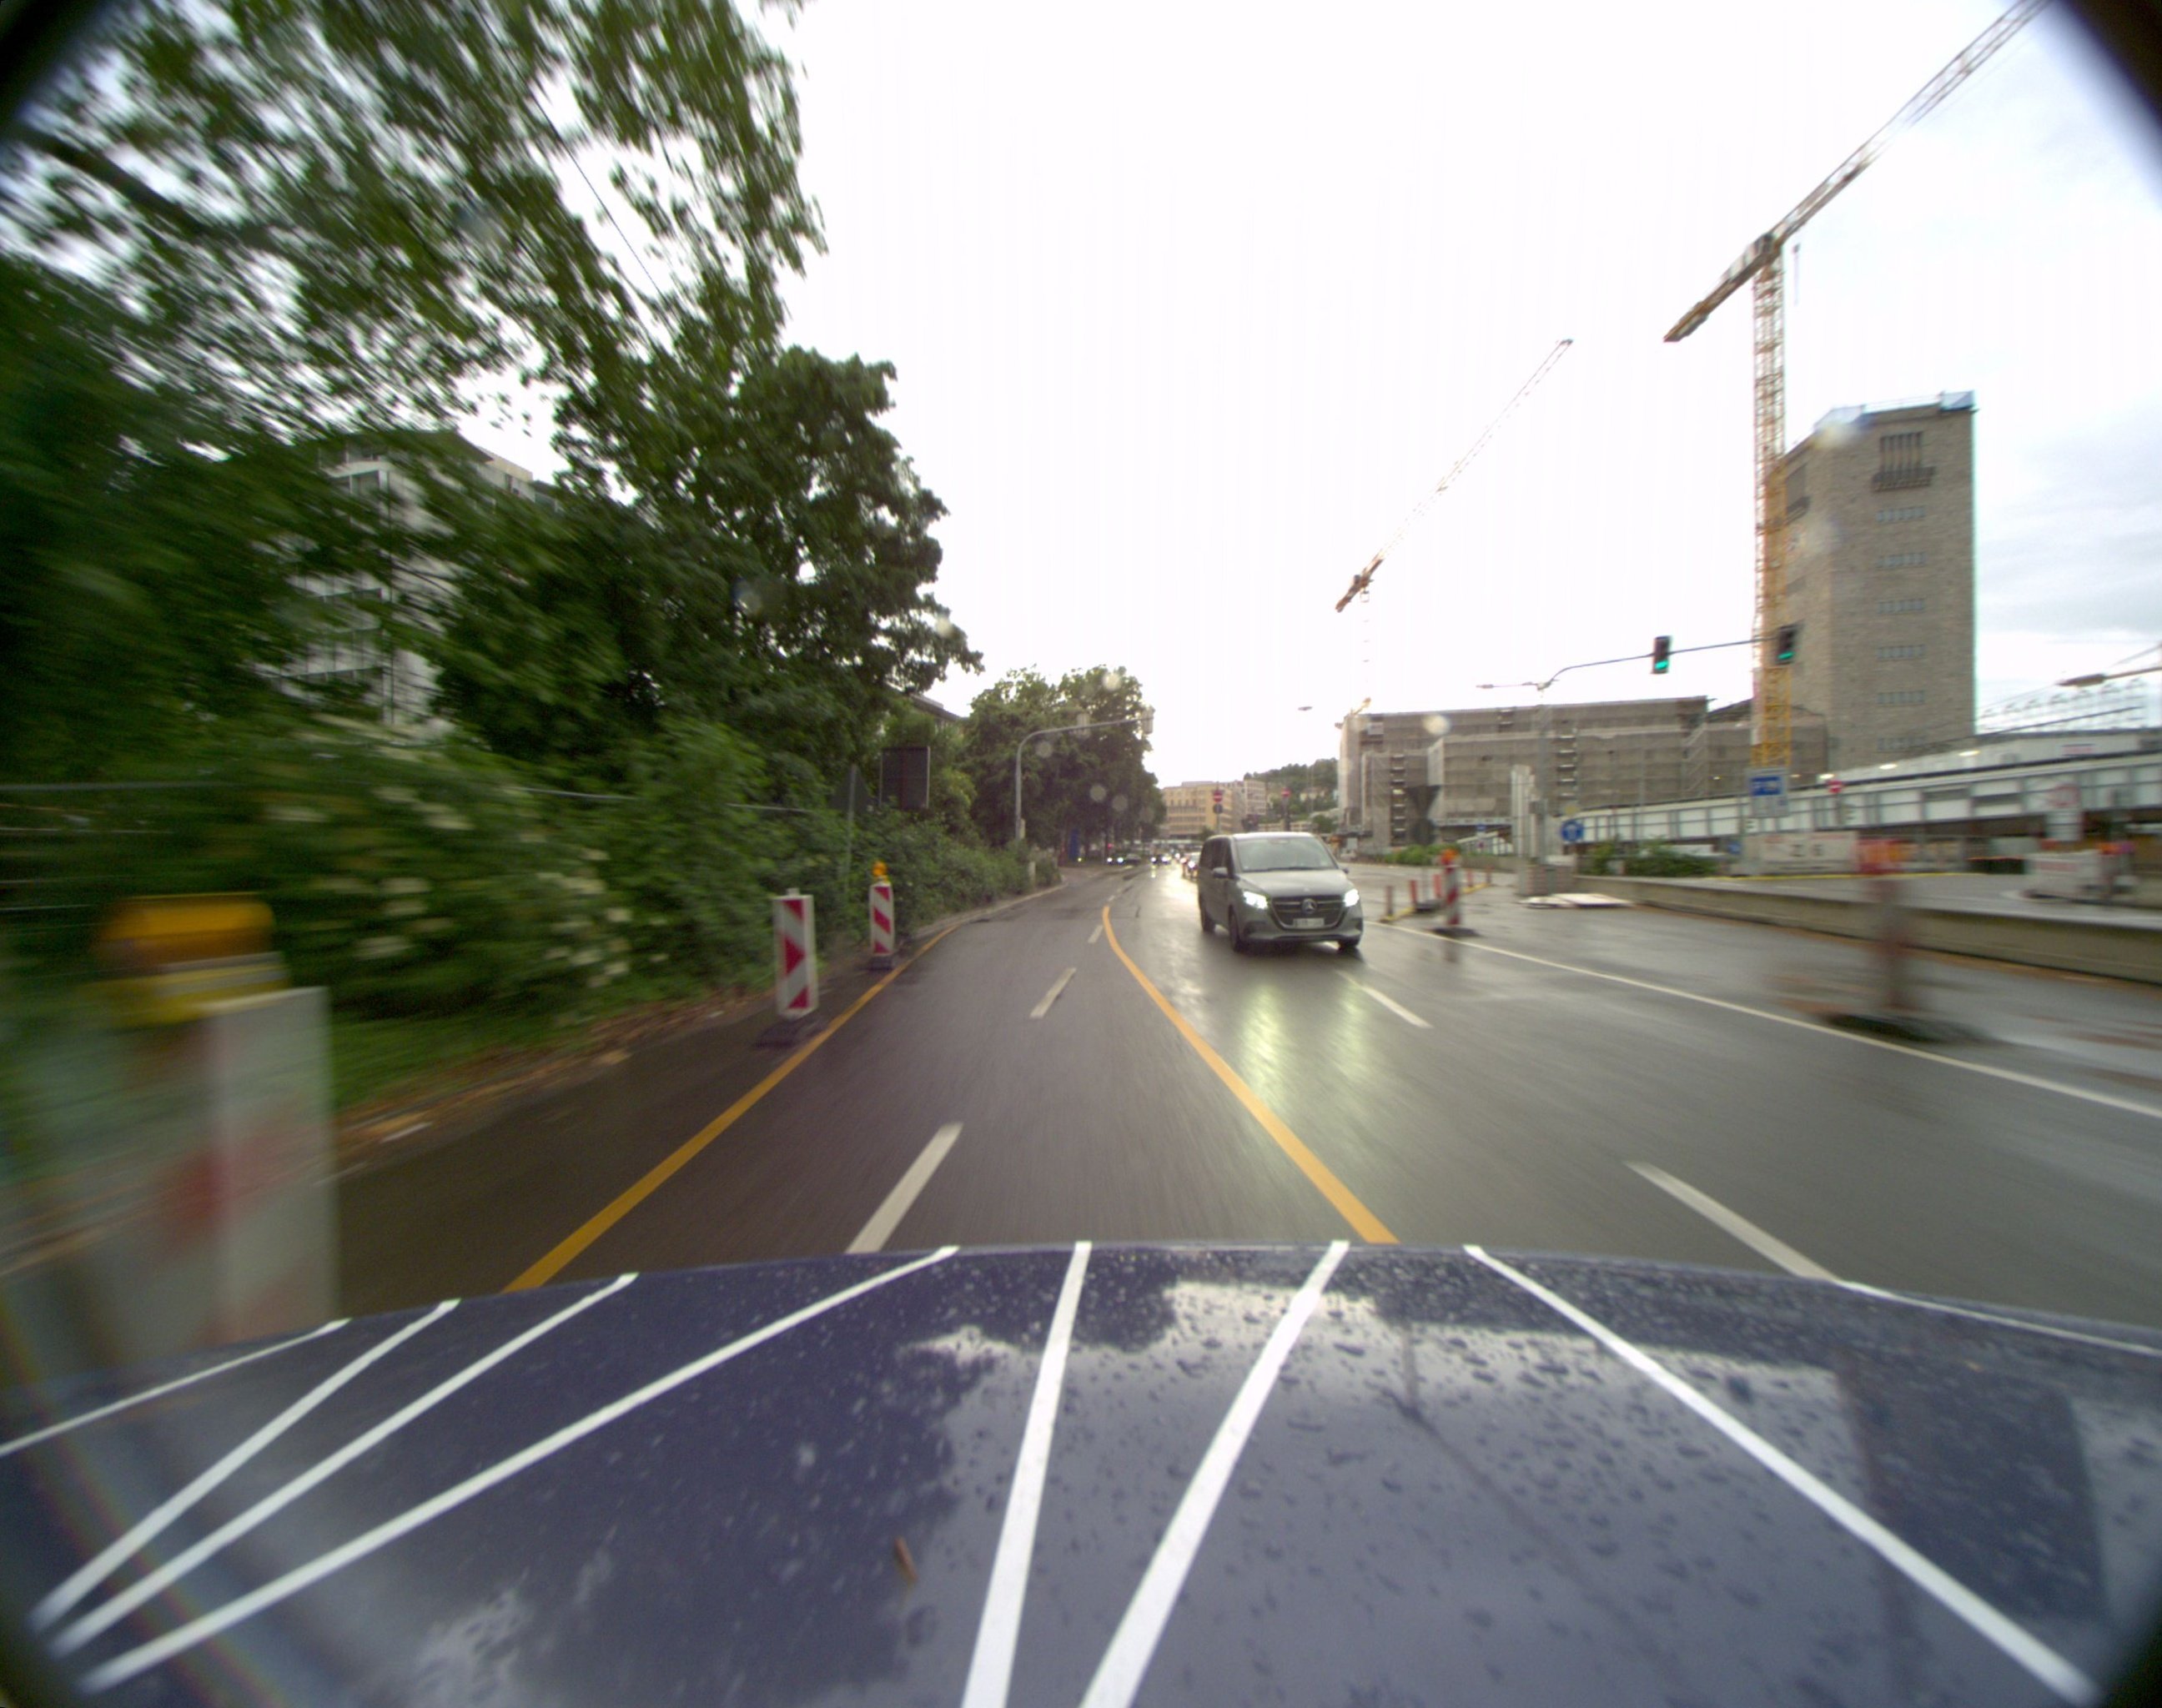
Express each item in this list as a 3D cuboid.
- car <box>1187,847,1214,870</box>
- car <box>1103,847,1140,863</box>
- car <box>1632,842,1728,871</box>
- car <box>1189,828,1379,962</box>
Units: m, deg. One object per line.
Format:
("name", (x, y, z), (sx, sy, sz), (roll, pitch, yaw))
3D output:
("car", (9.420, 0.314, 59.743), (1.810, 1.455, 4.922), (9, 2, 10))
("car", (4.789, 0.104, 89.530), (4.000, 1.753, 1.998), (0, 1, -10))
("car", (42.834, 0.143, 54.469), (2.003, 2.002, 5.014), (0, 0, -29))
("car", (3.265, 0.599, 13.483), (1.998, 1.845, 5.358), (-2, 0, 1))
